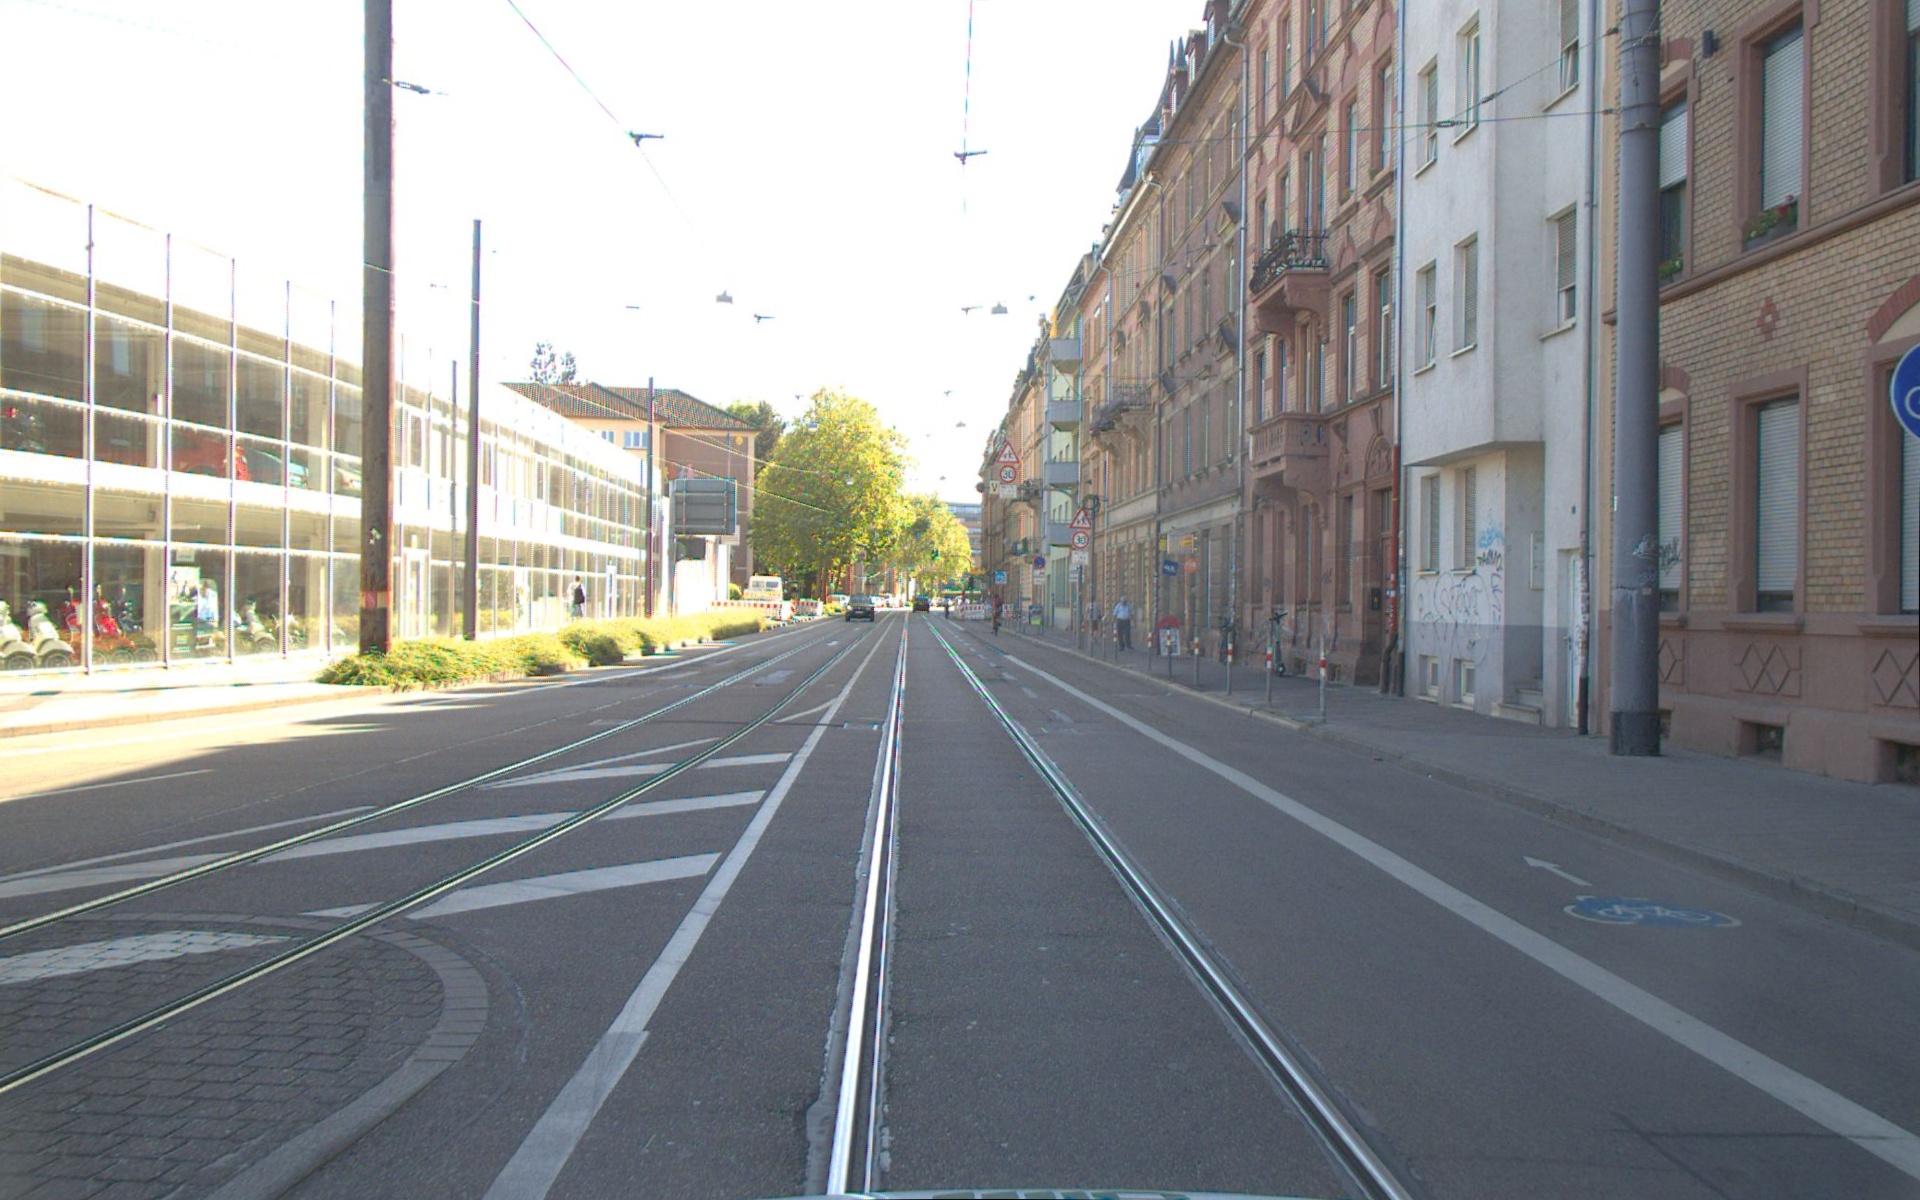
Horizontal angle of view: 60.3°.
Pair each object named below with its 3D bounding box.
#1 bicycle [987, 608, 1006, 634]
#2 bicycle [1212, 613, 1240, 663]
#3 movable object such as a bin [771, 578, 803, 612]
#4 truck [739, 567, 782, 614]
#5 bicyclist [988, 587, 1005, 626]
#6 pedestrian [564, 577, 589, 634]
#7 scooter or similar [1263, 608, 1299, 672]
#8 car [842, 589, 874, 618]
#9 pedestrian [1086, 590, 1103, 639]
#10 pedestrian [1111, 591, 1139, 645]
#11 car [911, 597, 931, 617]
[{"bbox_3d":[1.610,0.927,73.580,0.667,1.134,2.706,2,0,-2],"label":"bicycle"},{"bbox_3d":[6.254,0.883,38.982,0.401,1.141,1.898,-1,-1,2],"label":"bicycle"},{"bbox_3d":[-14.637,-0.425,140.134,2.446,2.691,5.984,2,0,-4],"label":"movable object such as a bin"},{"bbox_3d":[-13.110,-0.594,109.004,2.489,2.879,6.369,2,-1,-5],"label":"truck"},{"bbox_3d":[1.625,0.291,73.873,0.654,1.726,1.042,2,-1,-2],"label":"bicyclist"},{"bbox_3d":[-12.273,0.170,53.010,0.516,1.795,1.050,2,-1,-2],"label":"pedestrian"},{"bbox_3d":[6.374,0.786,32.880,0.398,1.232,1.480,-1,-1,-1],"label":"scooter or similar"},{"bbox_3d":[-6.414,0.242,104.196,1.723,1.726,4.143,2,-1,-1],"label":"car"},{"bbox_3d":[4.761,0.509,58.566,0.541,1.730,0.474,-1,-1,3],"label":"pedestrian"},{"bbox_3d":[5.059,0.546,50.813,0.782,1.633,0.652,1,-1,0],"label":"pedestrian"},{"bbox_3d":[-4.079,0.722,173.461,1.953,2.049,3.999,2,-1,-1],"label":"car"}]
